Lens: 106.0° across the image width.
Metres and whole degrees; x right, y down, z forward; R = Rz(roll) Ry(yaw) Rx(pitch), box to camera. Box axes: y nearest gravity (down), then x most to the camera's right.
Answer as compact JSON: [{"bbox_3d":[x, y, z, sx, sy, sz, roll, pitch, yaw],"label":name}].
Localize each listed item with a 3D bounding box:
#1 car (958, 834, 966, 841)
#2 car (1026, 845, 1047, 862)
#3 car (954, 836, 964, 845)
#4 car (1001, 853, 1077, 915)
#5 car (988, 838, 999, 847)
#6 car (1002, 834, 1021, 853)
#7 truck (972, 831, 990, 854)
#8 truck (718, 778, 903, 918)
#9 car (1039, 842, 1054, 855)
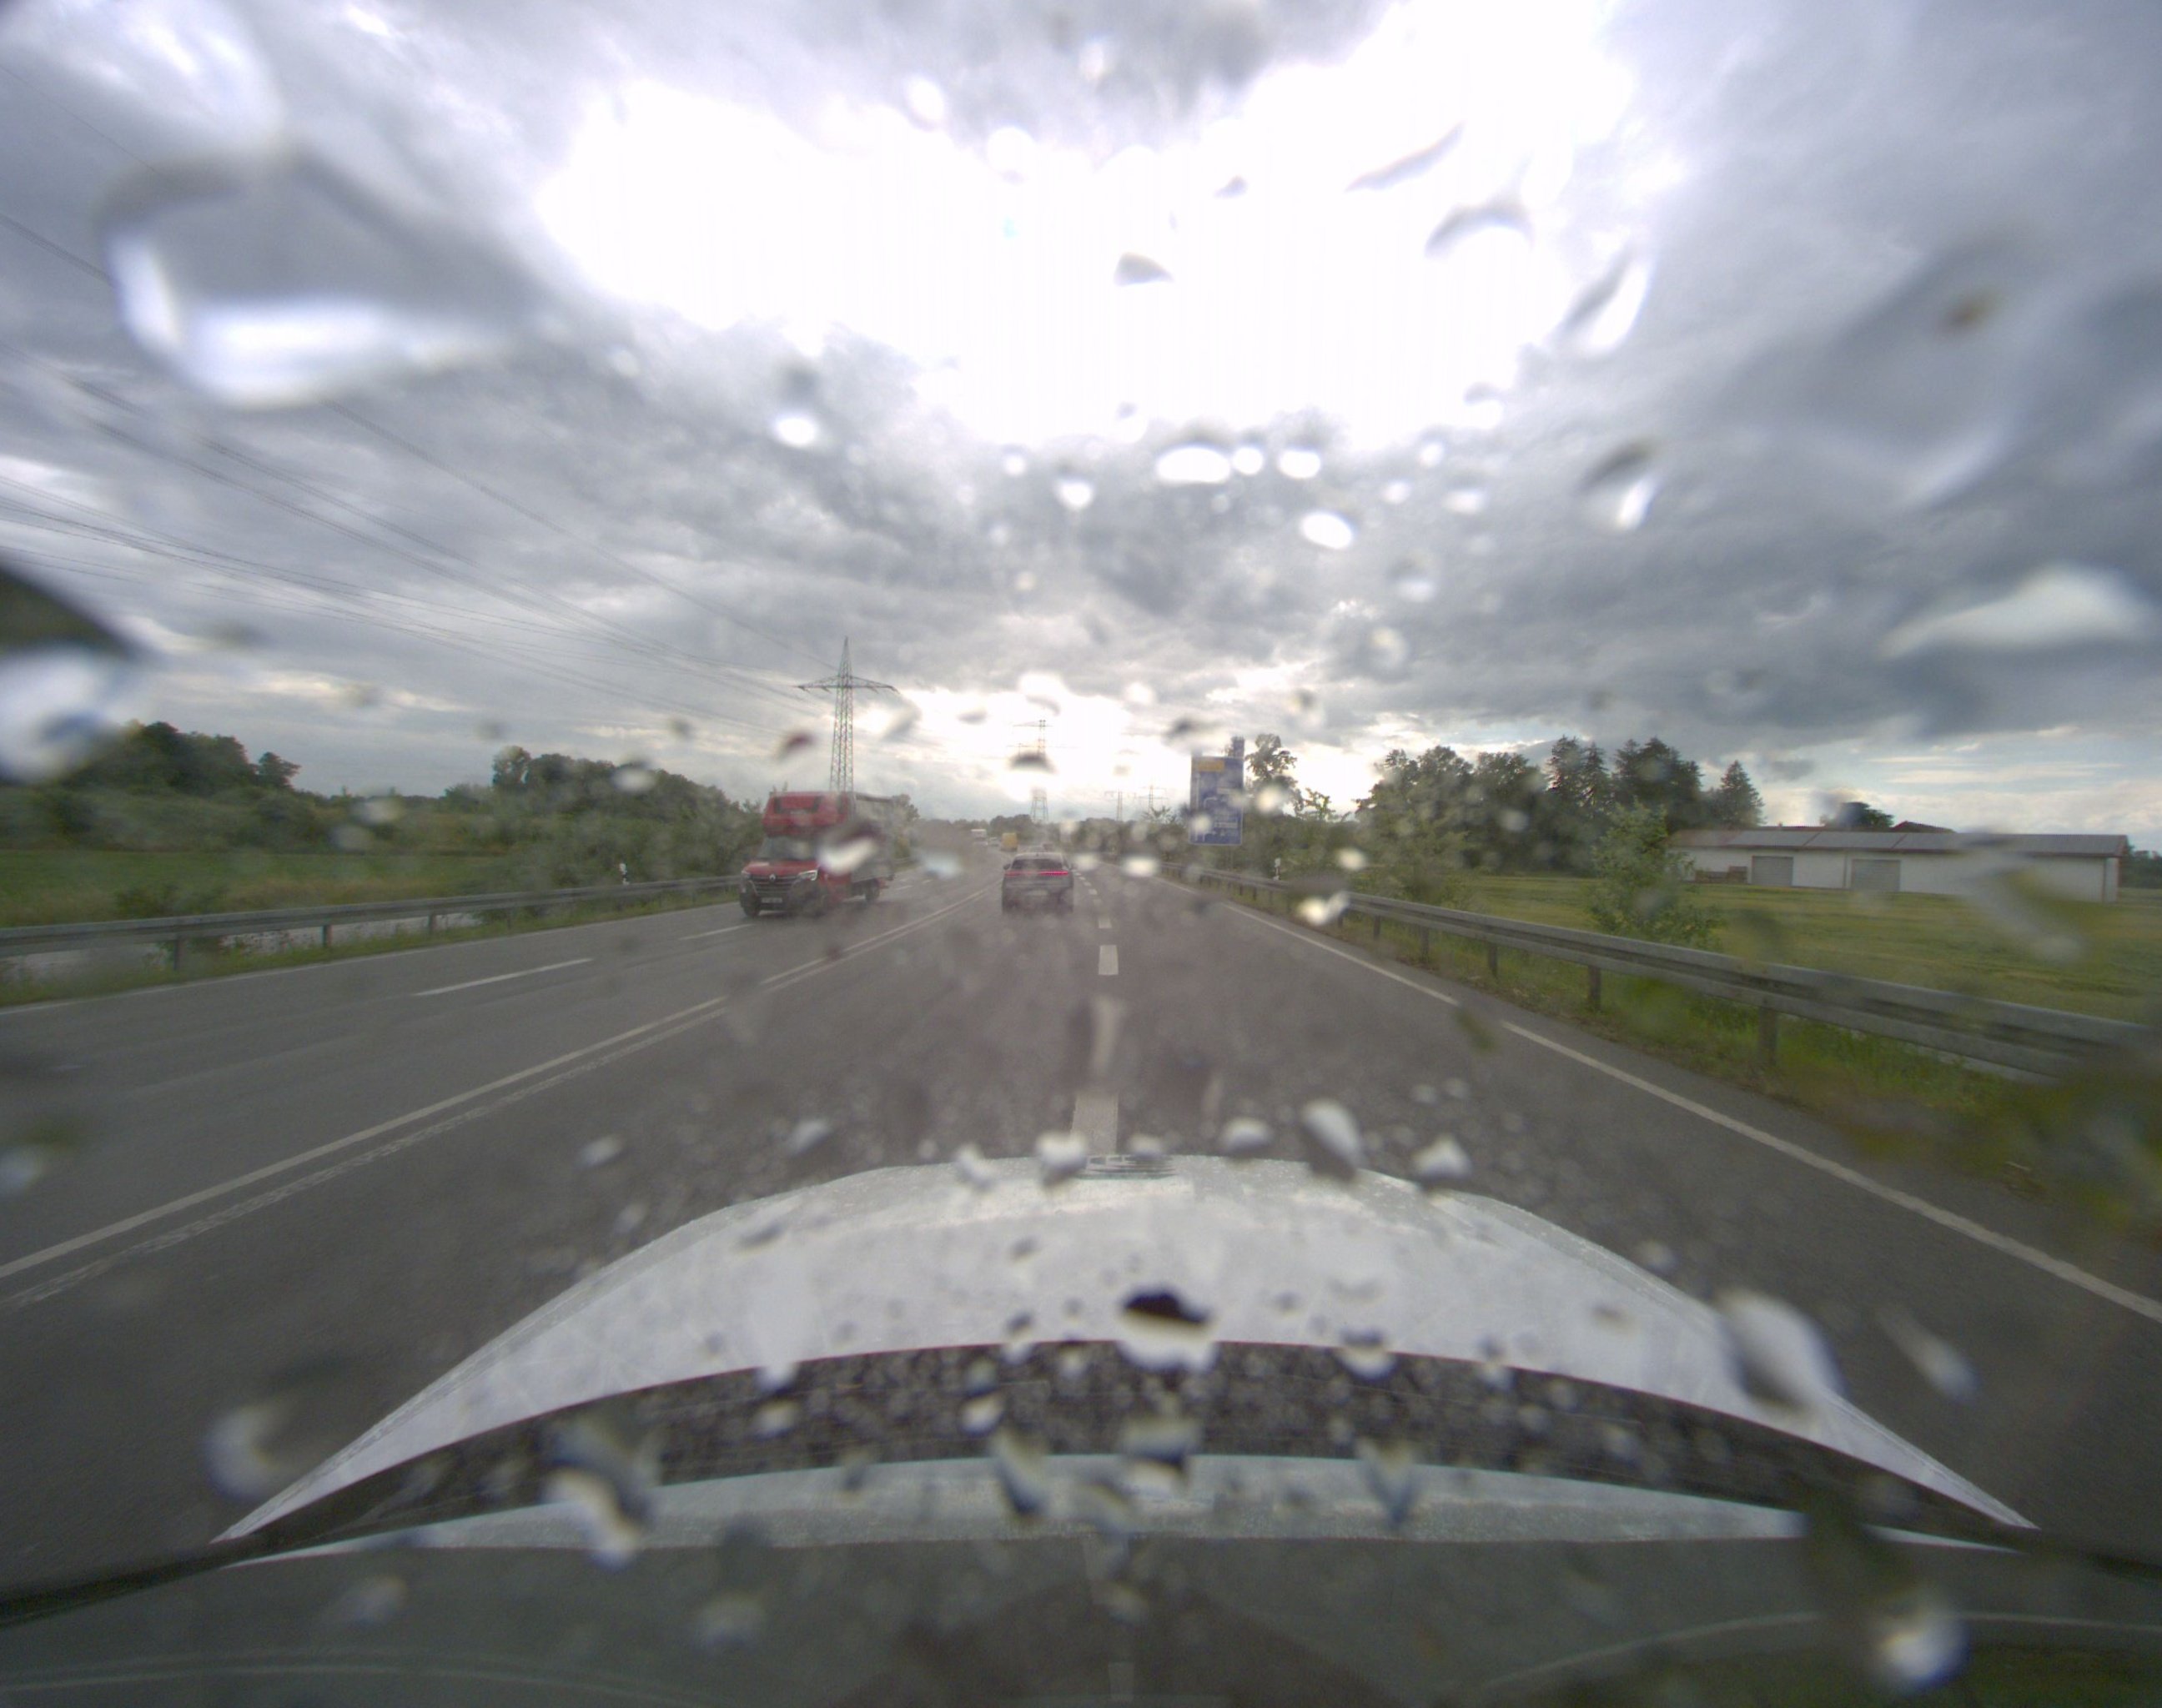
[{"bbox_3d":[-28.885,-3.989,197.662,1.798,1.574,4.249,-1,1,-7],"label":"car"},{"bbox_3d":[-3.947,-0.055,72.483,1.787,1.441,3.996,0,0,-3],"label":"car"},{"bbox_3d":[-23.548,-2.601,157.216,1.790,1.441,3.989,-1,0,-8],"label":"car"},{"bbox_3d":[-1.030,0.729,21.401,1.786,1.441,3.998,1,0,-1],"label":"car"},{"bbox_3d":[-15.189,-2.007,141.780,1.789,1.441,3.992,0,0,-6],"label":"car"},{"bbox_3d":[-10.124,-1.501,117.779,2.570,2.725,7.180,-1,0,-6],"label":"car"},{"bbox_3d":[-14.678,-1.706,120.225,2.252,3.155,6.679,-1,1,-5],"label":"truck"},{"bbox_3d":[-7.277,-0.196,23.122,2.471,3.292,7.285,-1,1,2],"label":"truck"},{"bbox_3d":[-4.292,-0.698,101.801,1.787,1.541,3.996,1,0,-3],"label":"car"}]
